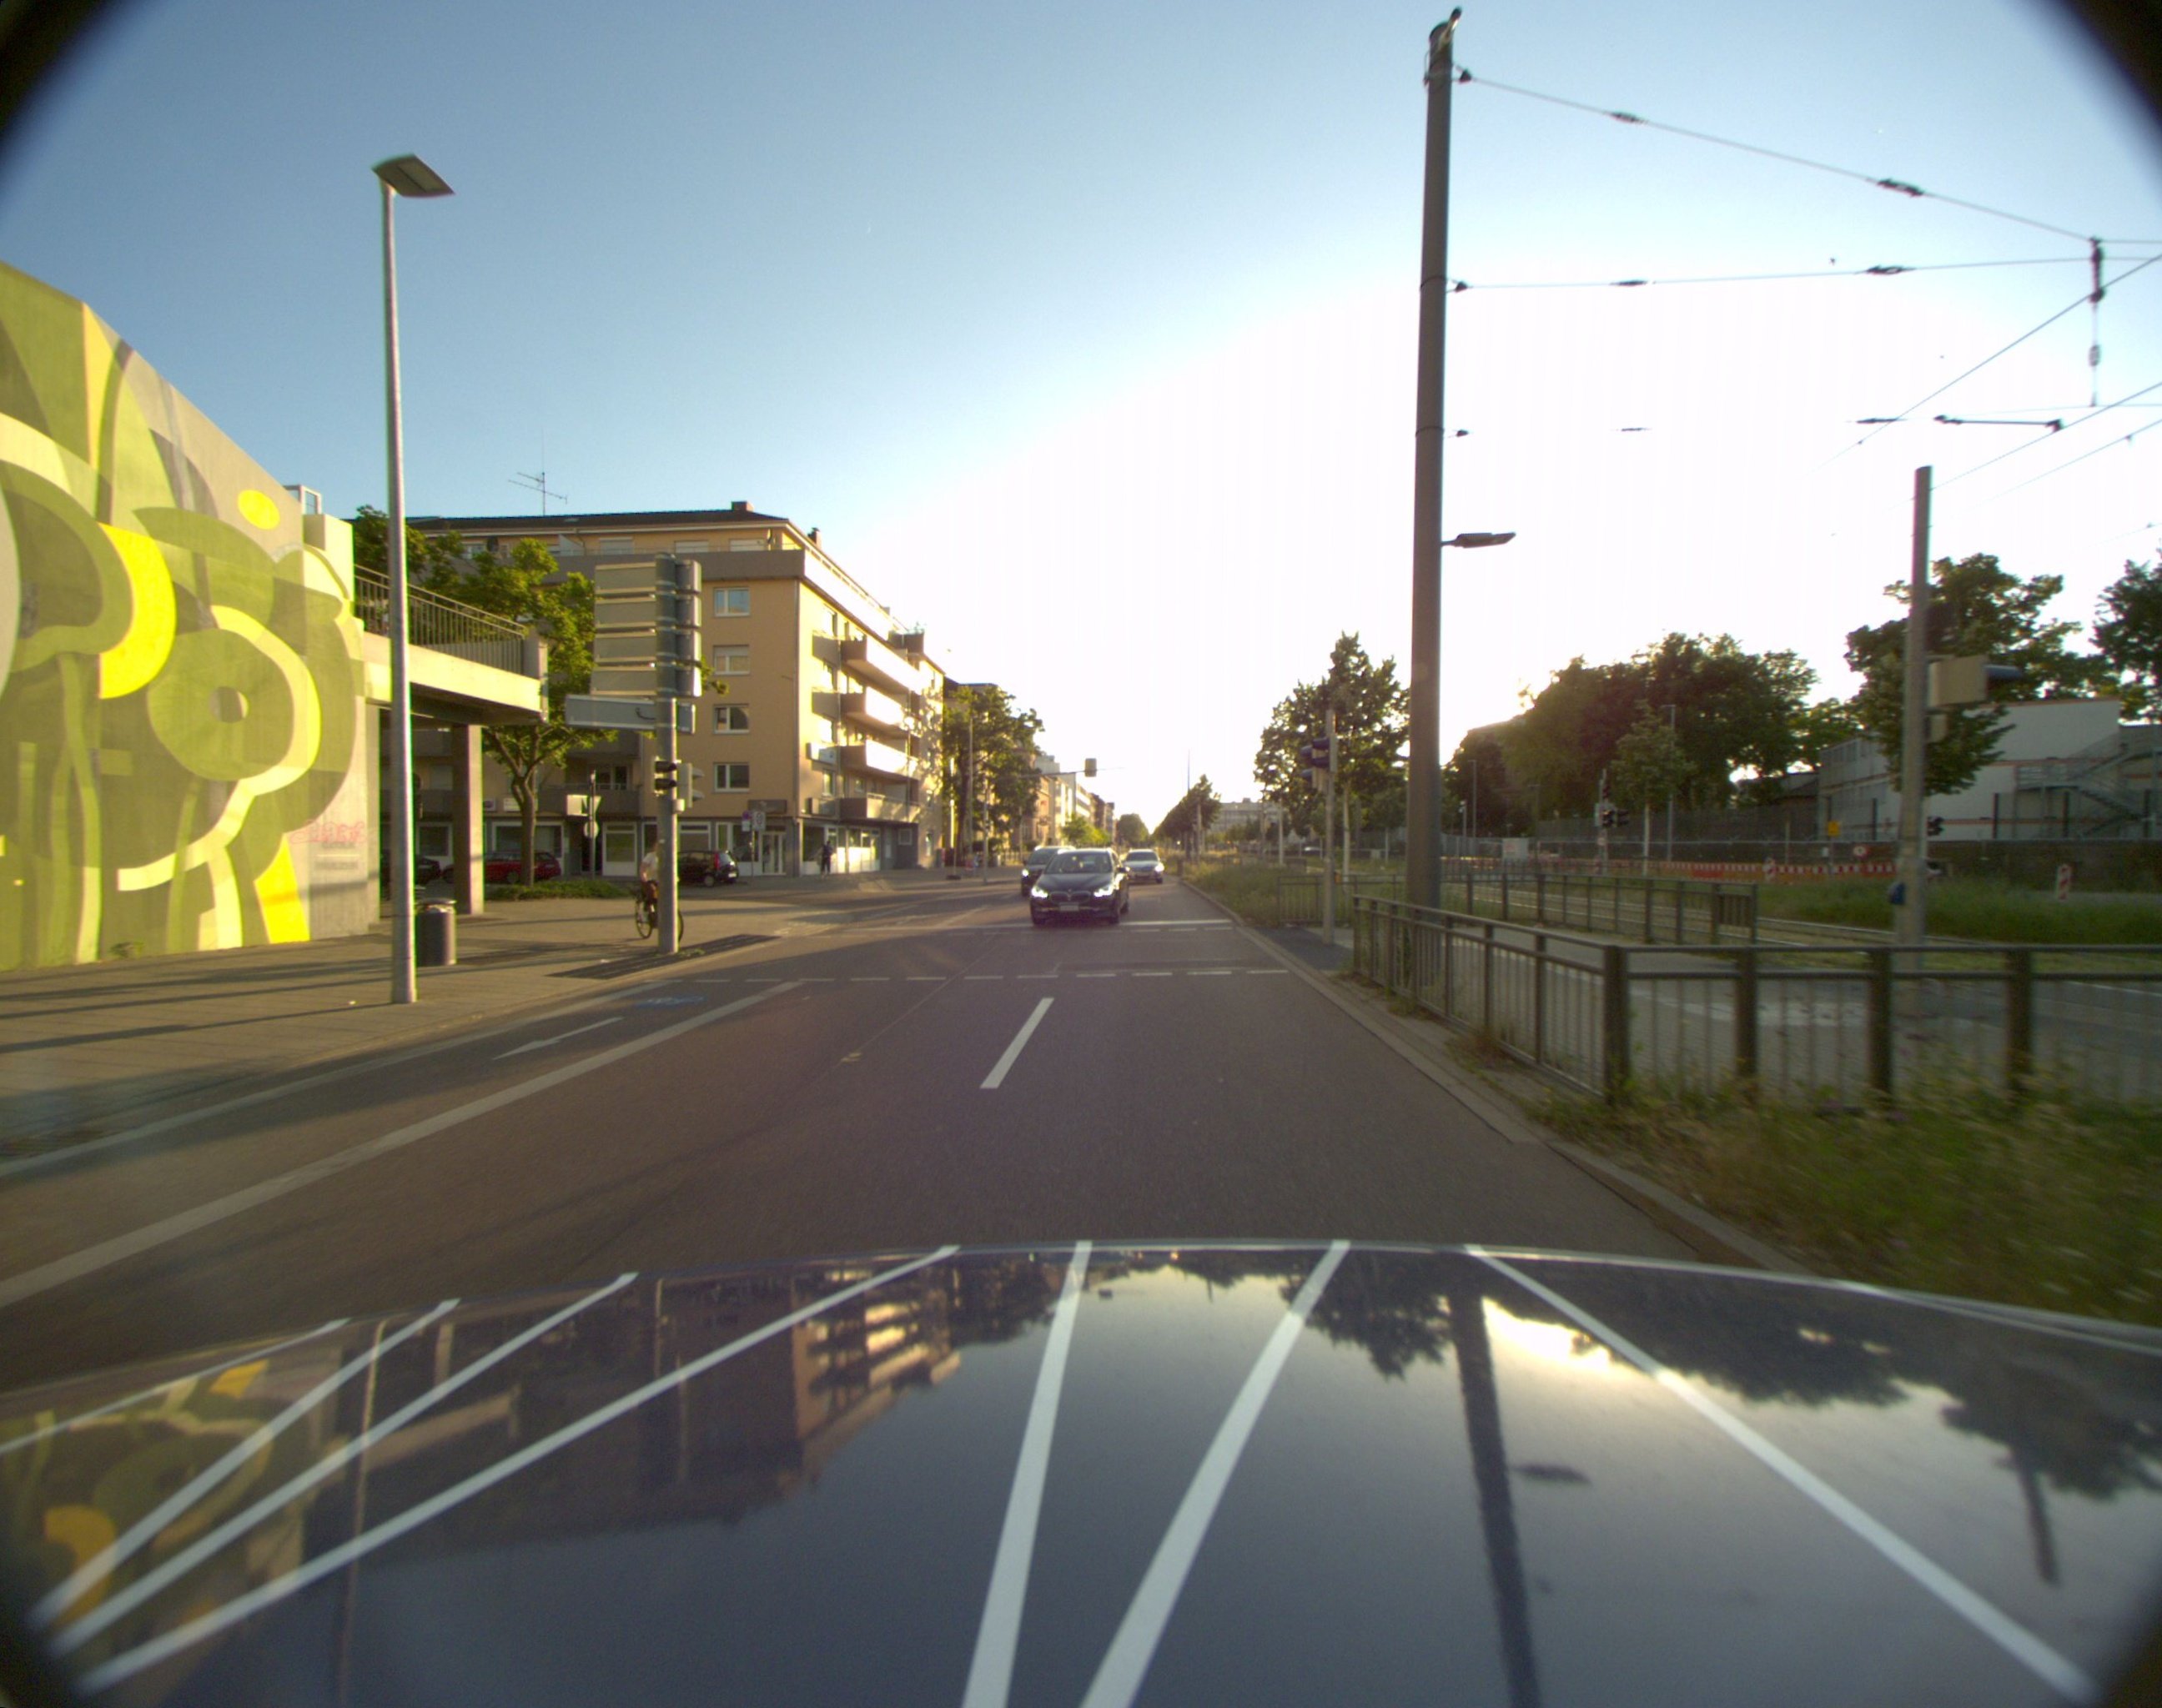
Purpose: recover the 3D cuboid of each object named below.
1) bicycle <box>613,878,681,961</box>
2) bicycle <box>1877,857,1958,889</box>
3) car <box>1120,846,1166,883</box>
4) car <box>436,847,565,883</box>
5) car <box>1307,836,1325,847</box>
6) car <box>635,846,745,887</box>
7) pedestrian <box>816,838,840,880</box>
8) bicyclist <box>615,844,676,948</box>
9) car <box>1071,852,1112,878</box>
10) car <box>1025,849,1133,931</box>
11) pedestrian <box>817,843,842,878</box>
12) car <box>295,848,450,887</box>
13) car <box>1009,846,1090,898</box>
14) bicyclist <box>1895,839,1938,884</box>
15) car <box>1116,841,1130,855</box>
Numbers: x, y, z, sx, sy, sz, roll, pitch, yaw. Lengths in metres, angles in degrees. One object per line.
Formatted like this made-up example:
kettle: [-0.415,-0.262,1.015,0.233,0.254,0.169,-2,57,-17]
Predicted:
bicycle: [-7.431,1.059,12.945,0.821,1.167,2.142,0,1,-35]
bicycle: [30.531,0.684,27.767,1.893,1.127,0.718,-1,1,40]
car: [2.729,0.414,33.562,1.832,1.455,4.304,-2,1,4]
car: [-25.058,0.465,32.901,4.225,1.433,1.655,0,4,0]
car: [36.654,-1.915,118.469,1.848,1.551,3.801,-2,1,5]
car: [-16.473,0.520,32.108,3.811,1.552,1.615,1,4,5]
pedestrian: [-11.334,0.225,34.043,0.839,1.849,0.544,0,2,5]
bicyclist: [-7.431,0.678,12.952,0.821,1.682,0.958,0,2,-35]
car: [0.678,0.612,45.383,1.914,1.387,4.278,-2,1,7]
car: [0.117,0.695,17.096,1.824,1.510,4.793,-1,1,7]
pedestrian: [-11.513,0.290,34.768,0.821,1.606,0.766,0,2,6]
car: [-27.744,0.523,29.833,4.617,1.460,1.807,0,-1,5]
car: [-0.965,0.559,26.095,1.826,1.589,4.370,-1,1,10]
bicyclist: [30.516,0.263,27.759,0.942,1.611,0.718,-1,1,40]
car: [5.679,-0.837,103.516,1.726,1.910,4.294,-2,1,1]
